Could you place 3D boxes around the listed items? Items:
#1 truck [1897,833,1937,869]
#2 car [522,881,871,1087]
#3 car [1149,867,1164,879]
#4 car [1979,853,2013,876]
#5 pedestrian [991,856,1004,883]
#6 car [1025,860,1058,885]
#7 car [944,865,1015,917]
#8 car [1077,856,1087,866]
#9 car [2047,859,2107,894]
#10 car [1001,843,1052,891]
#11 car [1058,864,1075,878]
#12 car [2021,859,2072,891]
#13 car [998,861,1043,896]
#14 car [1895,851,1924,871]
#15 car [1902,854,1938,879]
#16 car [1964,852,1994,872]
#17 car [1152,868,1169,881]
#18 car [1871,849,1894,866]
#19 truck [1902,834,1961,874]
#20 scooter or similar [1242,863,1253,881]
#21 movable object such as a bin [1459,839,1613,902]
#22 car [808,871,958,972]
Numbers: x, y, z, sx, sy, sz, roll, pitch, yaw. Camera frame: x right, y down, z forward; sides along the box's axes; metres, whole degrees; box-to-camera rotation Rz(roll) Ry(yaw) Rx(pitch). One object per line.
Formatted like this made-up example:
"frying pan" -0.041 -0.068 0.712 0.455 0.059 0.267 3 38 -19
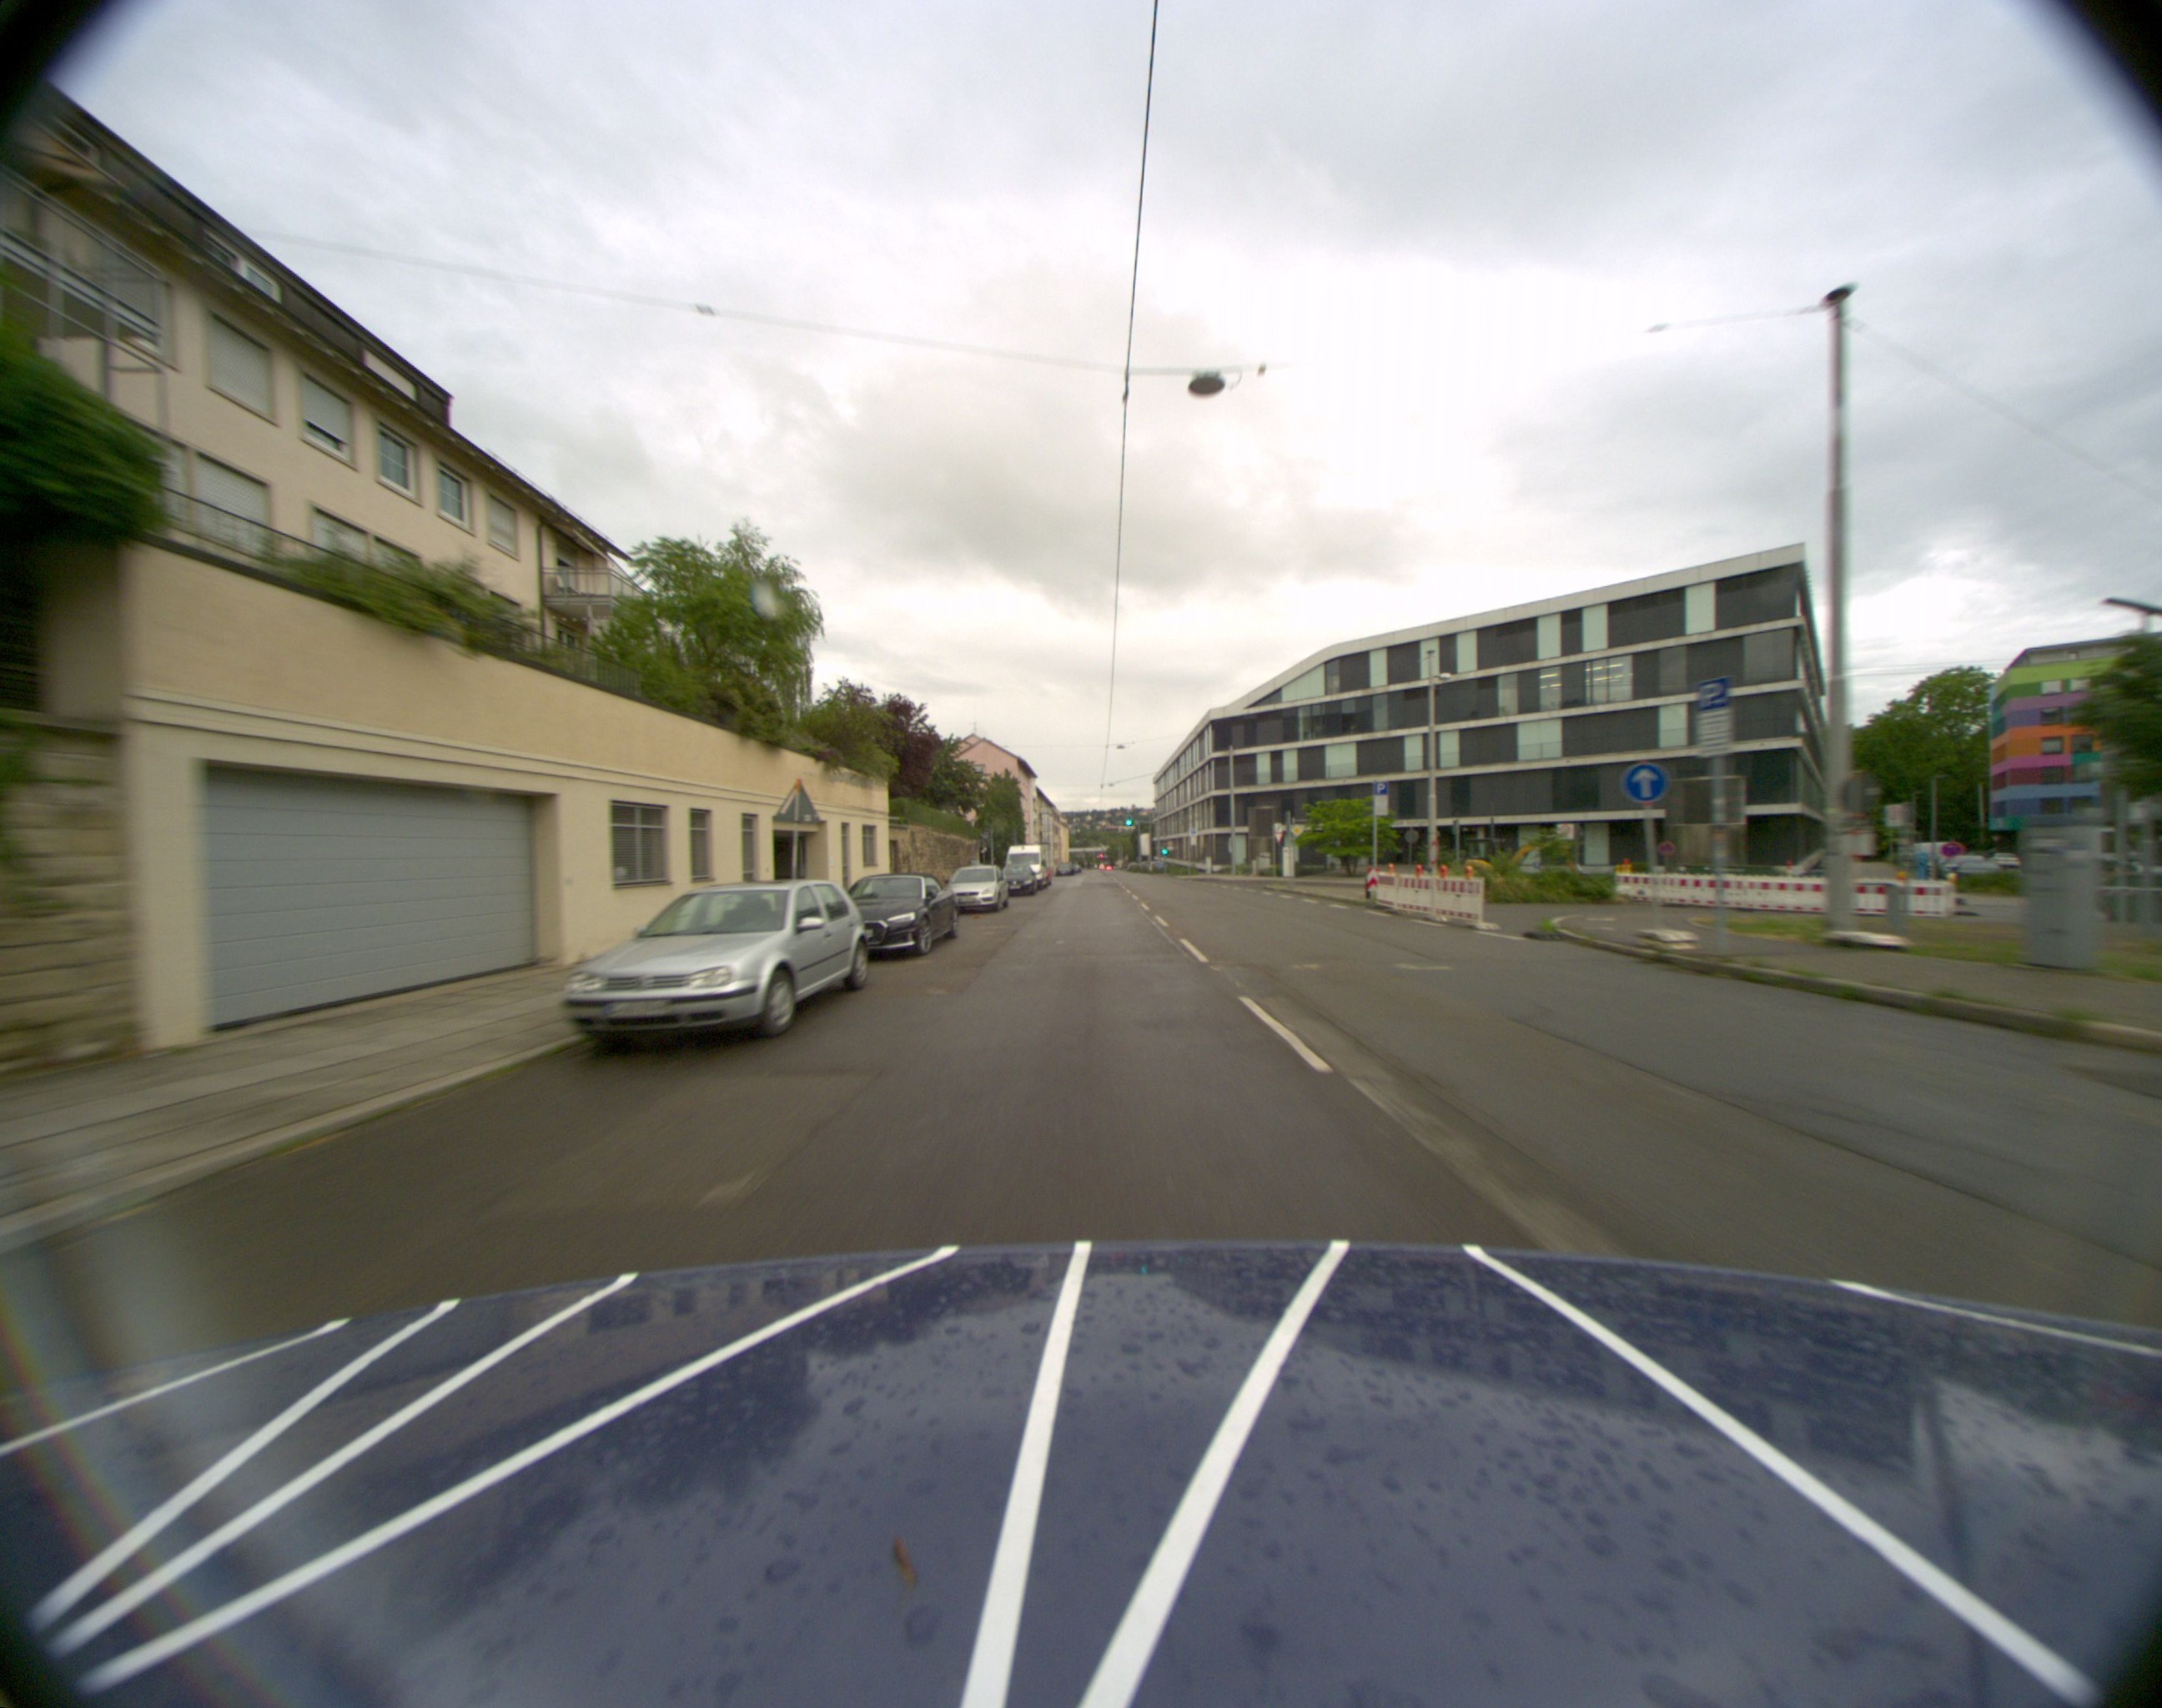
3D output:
"truck" 105.172 -0.305 95.696 8.018 4.336 2.991 1 -1 -45
"car" -3.573 1.096 7.910 1.633 1.445 3.759 -3 0 1
"car" 9.591 2.372 96.293 1.641 1.458 3.584 -1 0 2
"car" 89.487 1.024 74.335 4.009 2.141 1.795 1 -1 -45
"pedestrian" -5.447 1.015 49.809 0.725 1.705 0.905 0 0 2
"car" -2.573 1.186 49.930 1.725 1.413 4.203 -3 0 2
"car" -3.292 1.163 25.351 1.693 1.445 4.235 -3 0 1
"car" 0.199 1.431 153.723 1.911 1.865 4.750 -2 0 2
"car" 63.566 1.437 48.551 4.009 2.141 1.795 1 -1 -45
"car" -2.985 0.682 43.331 2.211 2.449 6.080 -3 0 1
"car" -1.714 2.060 91.872 1.796 1.510 4.513 -6 0 1
"car" 68.997 1.483 54.339 4.009 2.141 1.795 1 -1 -45
"car" -2.844 1.127 36.282 1.693 1.445 4.235 -3 0 1
"car" 82.965 0.712 76.144 4.009 2.001 1.795 1 -1 -45
"car" 69.675 1.009 63.135 4.009 2.001 1.795 1 -1 -45
"car" 96.550 0.865 81.721 4.009 2.141 1.795 1 -1 -45
"car" 9.487 2.390 91.185 1.641 1.458 3.583 -1 0 0
"car" 95.916 0.405 90.969 4.009 2.001 1.795 1 -1 -45
"truck" 119.611 0.130 107.109 13.935 5.366 4.809 1 -1 -45
"scooter or similar" 12.070 1.279 55.047 0.497 1.241 1.231 -2 1 2
"movable object such as a bin" 18.941 0.653 31.880 1.674 2.445 5.274 -2 1 -38
"car" -3.413 1.106 13.798 1.633 1.445 3.759 -3 0 1
